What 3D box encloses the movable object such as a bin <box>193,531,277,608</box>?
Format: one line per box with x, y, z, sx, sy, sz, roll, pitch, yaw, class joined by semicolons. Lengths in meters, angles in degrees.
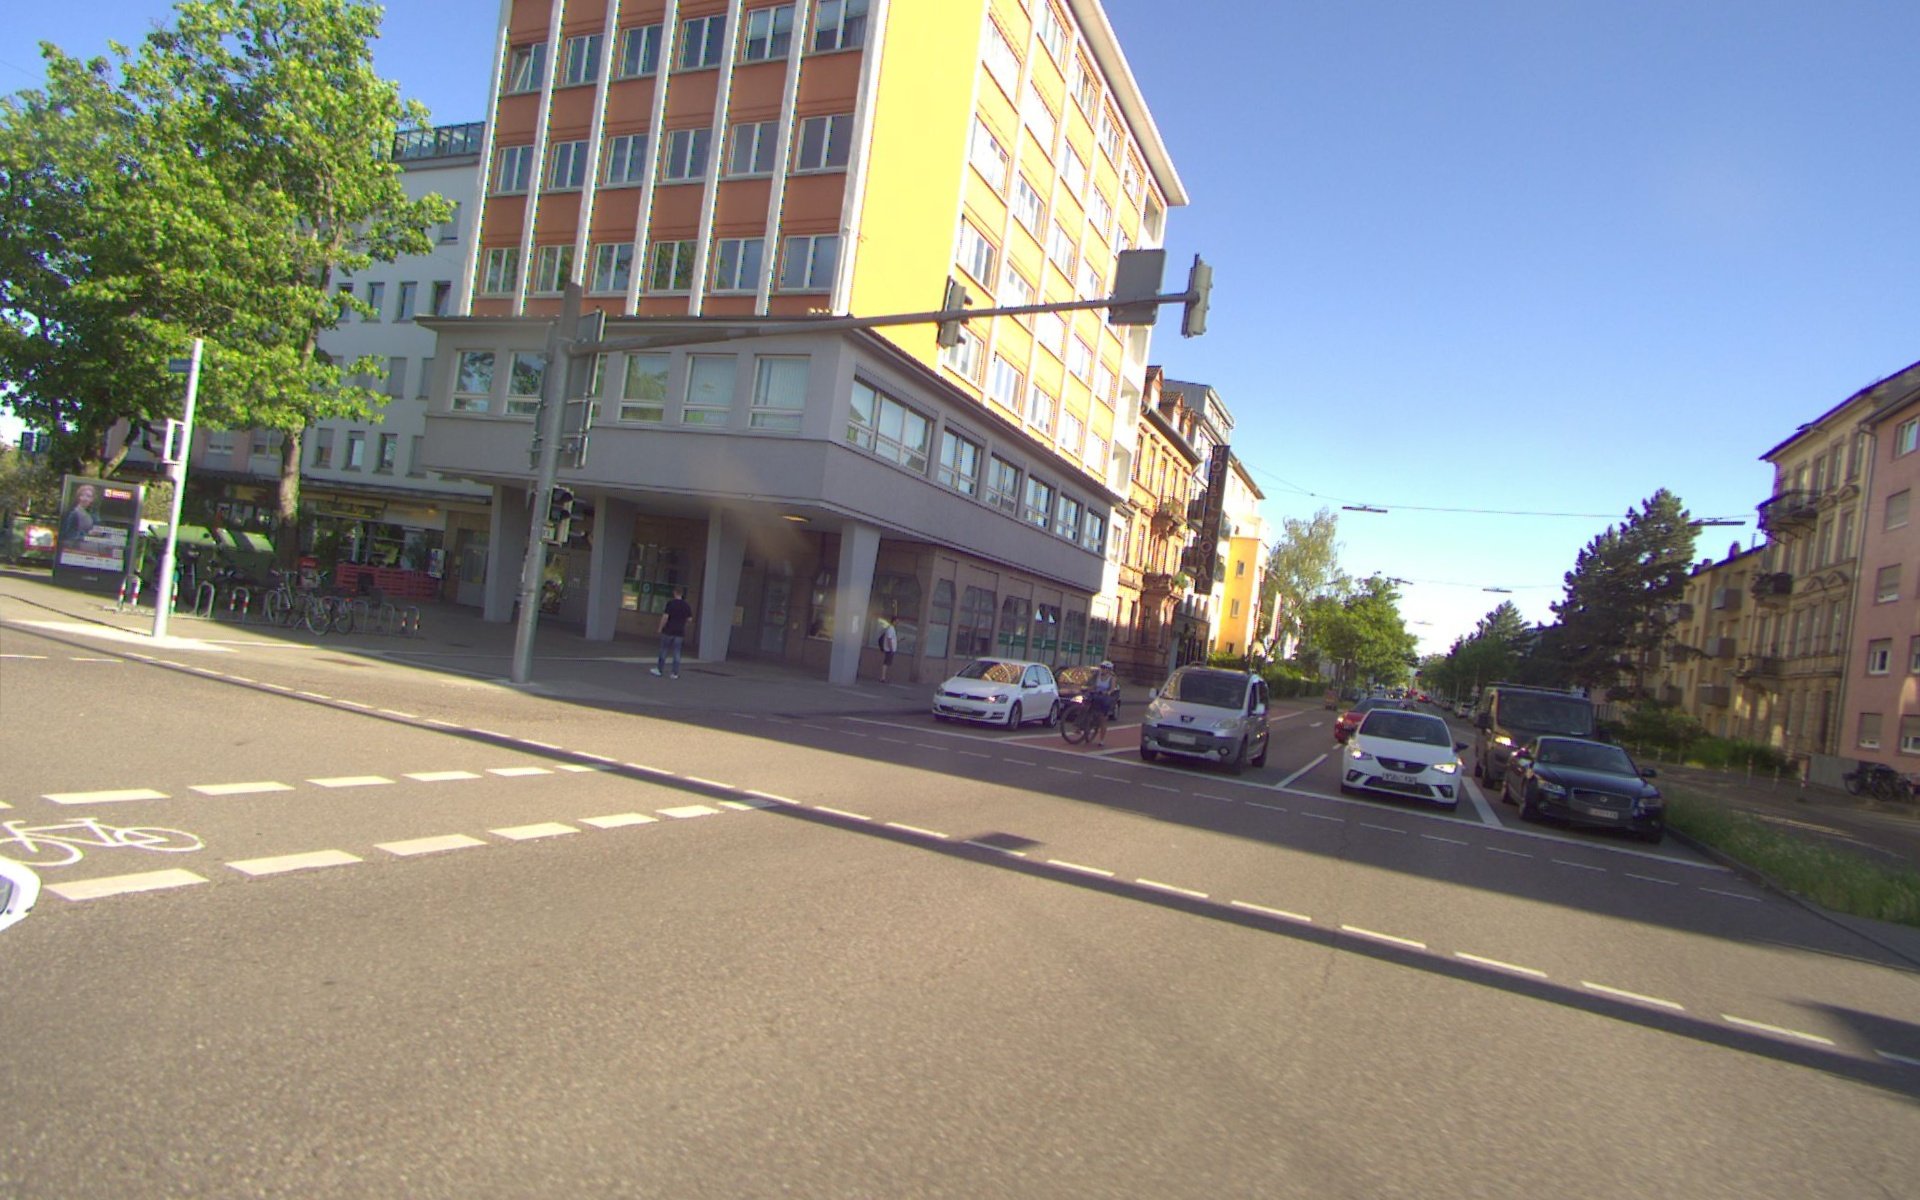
-18.301;-0.754;25.415;0.928;1.729;1.260;6;-2;23;movable object such as a bin

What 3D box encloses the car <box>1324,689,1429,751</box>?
13.027;3.748;31.312;1.800;1.553;4.369;6;-2;38;car

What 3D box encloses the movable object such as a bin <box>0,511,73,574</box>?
-24.180;-1.489;26.282;0.909;1.406;1.280;5;-4;42;movable object such as a bin

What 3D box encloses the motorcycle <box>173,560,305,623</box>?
-15.434;-0.150;21.598;0.748;1.033;2.105;7;-3;25;motorcycle

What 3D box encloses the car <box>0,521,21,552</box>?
-46.404;-3.135;48.036;1.845;1.358;4.552;10;-5;-39;car

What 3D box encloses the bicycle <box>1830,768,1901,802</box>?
32.607;6.655;36.243;1.884;1.004;0.688;3;-3;2;bicycle

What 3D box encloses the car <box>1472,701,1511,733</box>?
38.721;8.552;73.399;1.964;2.035;4.251;6;-4;24;car

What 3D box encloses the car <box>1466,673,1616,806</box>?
12.555;2.936;22.016;2.336;2.224;5.251;7;-2;28;car

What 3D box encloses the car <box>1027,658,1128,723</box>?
3.241;2.449;27.037;1.548;1.443;4.167;5;-4;22;car

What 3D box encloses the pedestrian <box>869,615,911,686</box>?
-1.909;1.388;27.536;0.883;1.798;0.858;8;-3;-3;pedestrian

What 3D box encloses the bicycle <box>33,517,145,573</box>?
-24.971;-1.560;28.888;2.139;1.265;0.895;8;-2;-20;bicycle

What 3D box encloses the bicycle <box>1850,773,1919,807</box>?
31.712;6.516;34.490;1.886;1.004;0.688;4;-3;-5;bicycle

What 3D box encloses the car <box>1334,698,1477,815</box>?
7.353;2.535;16.825;1.815;1.455;4.005;6;-4;22;car

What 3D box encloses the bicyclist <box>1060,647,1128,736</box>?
2.594;1.770;19.404;0.924;1.577;0.937;6;-3;22;bicyclist

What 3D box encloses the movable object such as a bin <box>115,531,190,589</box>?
-22.931;-1.129;28.585;0.942;1.405;1.217;6;-3;26;movable object such as a bin

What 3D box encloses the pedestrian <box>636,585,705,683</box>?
-5.941;0.698;20.624;0.824;1.864;0.881;10;-4;-44;pedestrian

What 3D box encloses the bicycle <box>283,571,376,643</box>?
-13.017;0.136;20.750;1.814;1.257;0.534;6;-3;23;bicycle

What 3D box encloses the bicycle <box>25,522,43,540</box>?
-52.997;-3.919;57.597;0.532;0.901;2.048;10;-4;-39;bicycle

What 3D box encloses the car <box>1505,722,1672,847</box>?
10.229;2.924;16.340;1.943;1.484;4.157;5;-5;34;car

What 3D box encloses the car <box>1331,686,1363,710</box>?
32.489;8.238;84.552;1.962;1.740;4.255;7;-4;15;car

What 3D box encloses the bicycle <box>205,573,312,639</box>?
-13.264;0.107;19.010;2.081;0.995;0.477;6;-3;21;bicycle

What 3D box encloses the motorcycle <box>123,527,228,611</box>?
-17.303;-0.693;22.170;2.502;1.556;0.804;7;-3;31;motorcycle

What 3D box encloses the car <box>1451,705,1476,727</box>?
52.955;12.207;105.837;1.964;2.035;4.251;6;-4;24;car

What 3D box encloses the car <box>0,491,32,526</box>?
-60.673;-5.871;64.099;1.989;1.832;4.261;11;-5;-42;car

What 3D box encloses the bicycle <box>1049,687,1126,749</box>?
2.484;2.258;19.282;0.845;1.011;2.151;6;-4;22;bicycle

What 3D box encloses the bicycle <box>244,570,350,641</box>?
-12.971;0.105;19.662;2.081;1.129;0.477;6;-3;21;bicycle

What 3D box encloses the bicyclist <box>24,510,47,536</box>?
-52.951;-4.383;57.629;0.755;1.340;0.983;10;-4;-40;bicyclist

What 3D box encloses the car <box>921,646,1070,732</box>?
0.893;1.987;21.818;1.812;1.518;4.169;5;-5;22;car

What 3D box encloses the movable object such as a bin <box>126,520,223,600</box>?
-18.897;-0.945;24.233;0.990;1.658;1.386;6;-2;23;movable object such as a bin

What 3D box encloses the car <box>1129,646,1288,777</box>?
4.671;2.048;18.370;1.912;1.870;4.607;6;-4;24;car
